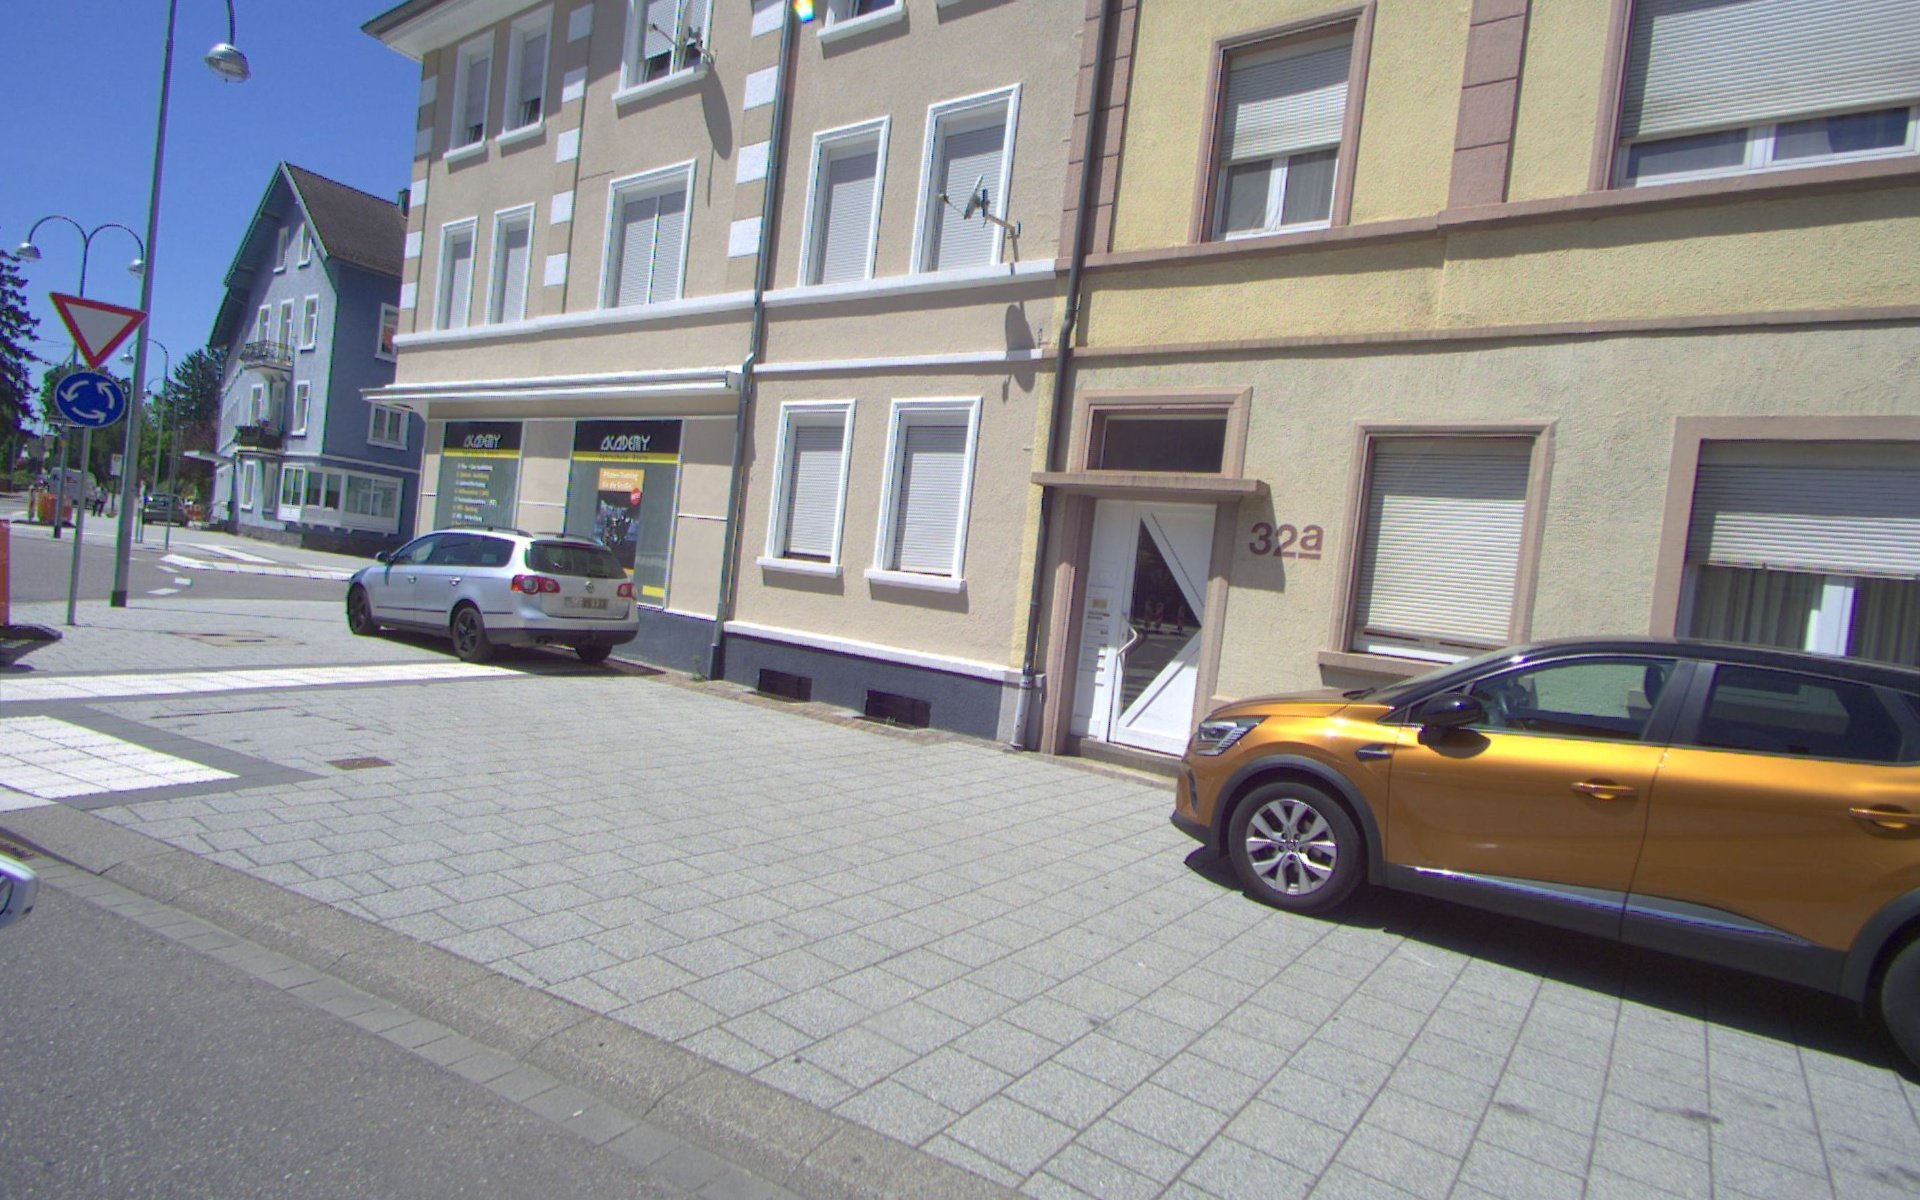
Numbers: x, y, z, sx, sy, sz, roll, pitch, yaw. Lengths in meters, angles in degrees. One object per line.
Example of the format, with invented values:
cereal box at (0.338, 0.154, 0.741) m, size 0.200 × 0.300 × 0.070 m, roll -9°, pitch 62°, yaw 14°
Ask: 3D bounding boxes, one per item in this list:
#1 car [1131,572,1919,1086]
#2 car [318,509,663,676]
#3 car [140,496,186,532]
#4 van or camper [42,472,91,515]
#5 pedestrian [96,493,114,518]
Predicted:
car at (3.225, 0.890, 4.936) m, size 4.295 × 1.642 × 1.671 m, roll 7°, pitch 3°, yaw 35°
car at (-5.959, -0.154, 12.535) m, size 4.616 × 1.550 × 1.763 m, roll 7°, pitch 2°, yaw 35°
car at (-38.619, -4.203, 48.819) m, size 1.629 × 1.528 × 3.526 m, roll 3°, pitch 3°, yaw -37°
van or camper at (-62.530, -7.428, 70.465) m, size 2.196 × 2.643 × 3.956 m, roll 7°, pitch 0°, yaw -39°
pedestrian at (-47.157, -5.201, 55.483) m, size 0.660 × 1.304 × 0.582 m, roll 2°, pitch 4°, yaw -30°
